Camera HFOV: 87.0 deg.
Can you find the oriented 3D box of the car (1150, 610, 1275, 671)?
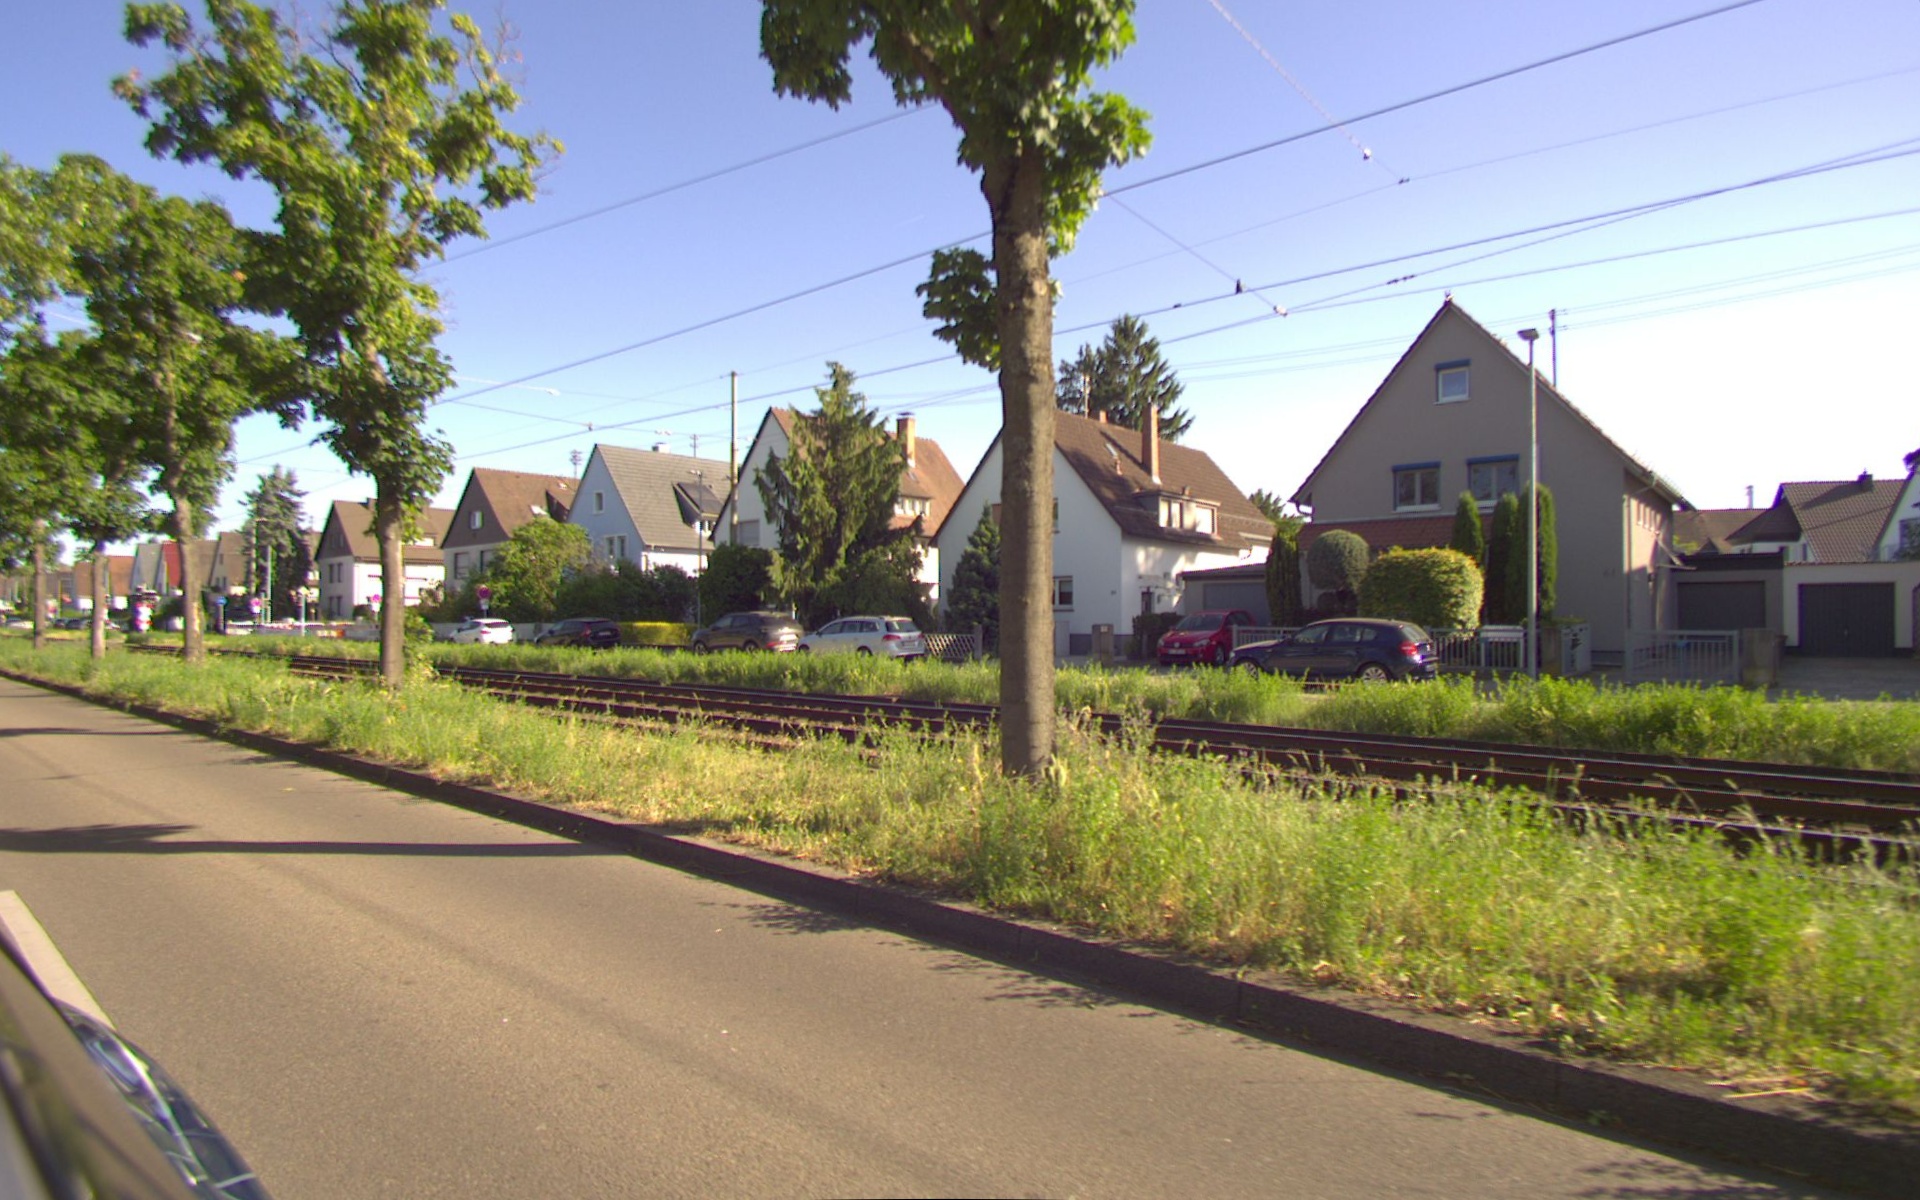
[{"bbox_3d":[7.230,1.078,28.688,1.746,1.481,4.433,-1,1,39],"label":"car"}]

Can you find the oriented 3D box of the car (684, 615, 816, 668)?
[{"bbox_3d":[-6.920,1.312,33.163,4.534,1.573,1.864,-1,0,41],"label":"car"}]

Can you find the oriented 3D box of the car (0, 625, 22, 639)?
[{"bbox_3d":[-110.927,3.701,118.073,3.998,1.602,1.709,-1,-1,41],"label":"car"}]

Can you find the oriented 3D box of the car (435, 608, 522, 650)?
[{"bbox_3d":[-22.298,1.326,46.793,4.582,1.877,1.973,-1,-1,41],"label":"car"}]

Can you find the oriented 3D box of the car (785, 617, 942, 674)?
[{"bbox_3d":[-2.931,1.303,30.057,4.837,1.483,1.864,-1,0,42],"label":"car"}]

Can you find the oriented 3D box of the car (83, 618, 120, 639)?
[{"bbox_3d":[-69.824,2.296,82.330,3.999,1.697,1.762,-1,-1,42],"label":"car"}]

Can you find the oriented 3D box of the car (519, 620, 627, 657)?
[{"bbox_3d":[-15.622,1.508,40.738,4.980,1.351,1.973,-1,0,41],"label":"car"}]

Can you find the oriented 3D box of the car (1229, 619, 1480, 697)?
[{"bbox_3d":[7.886,1.096,20.436,4.308,1.382,1.972,-1,-1,42],"label":"car"}]
